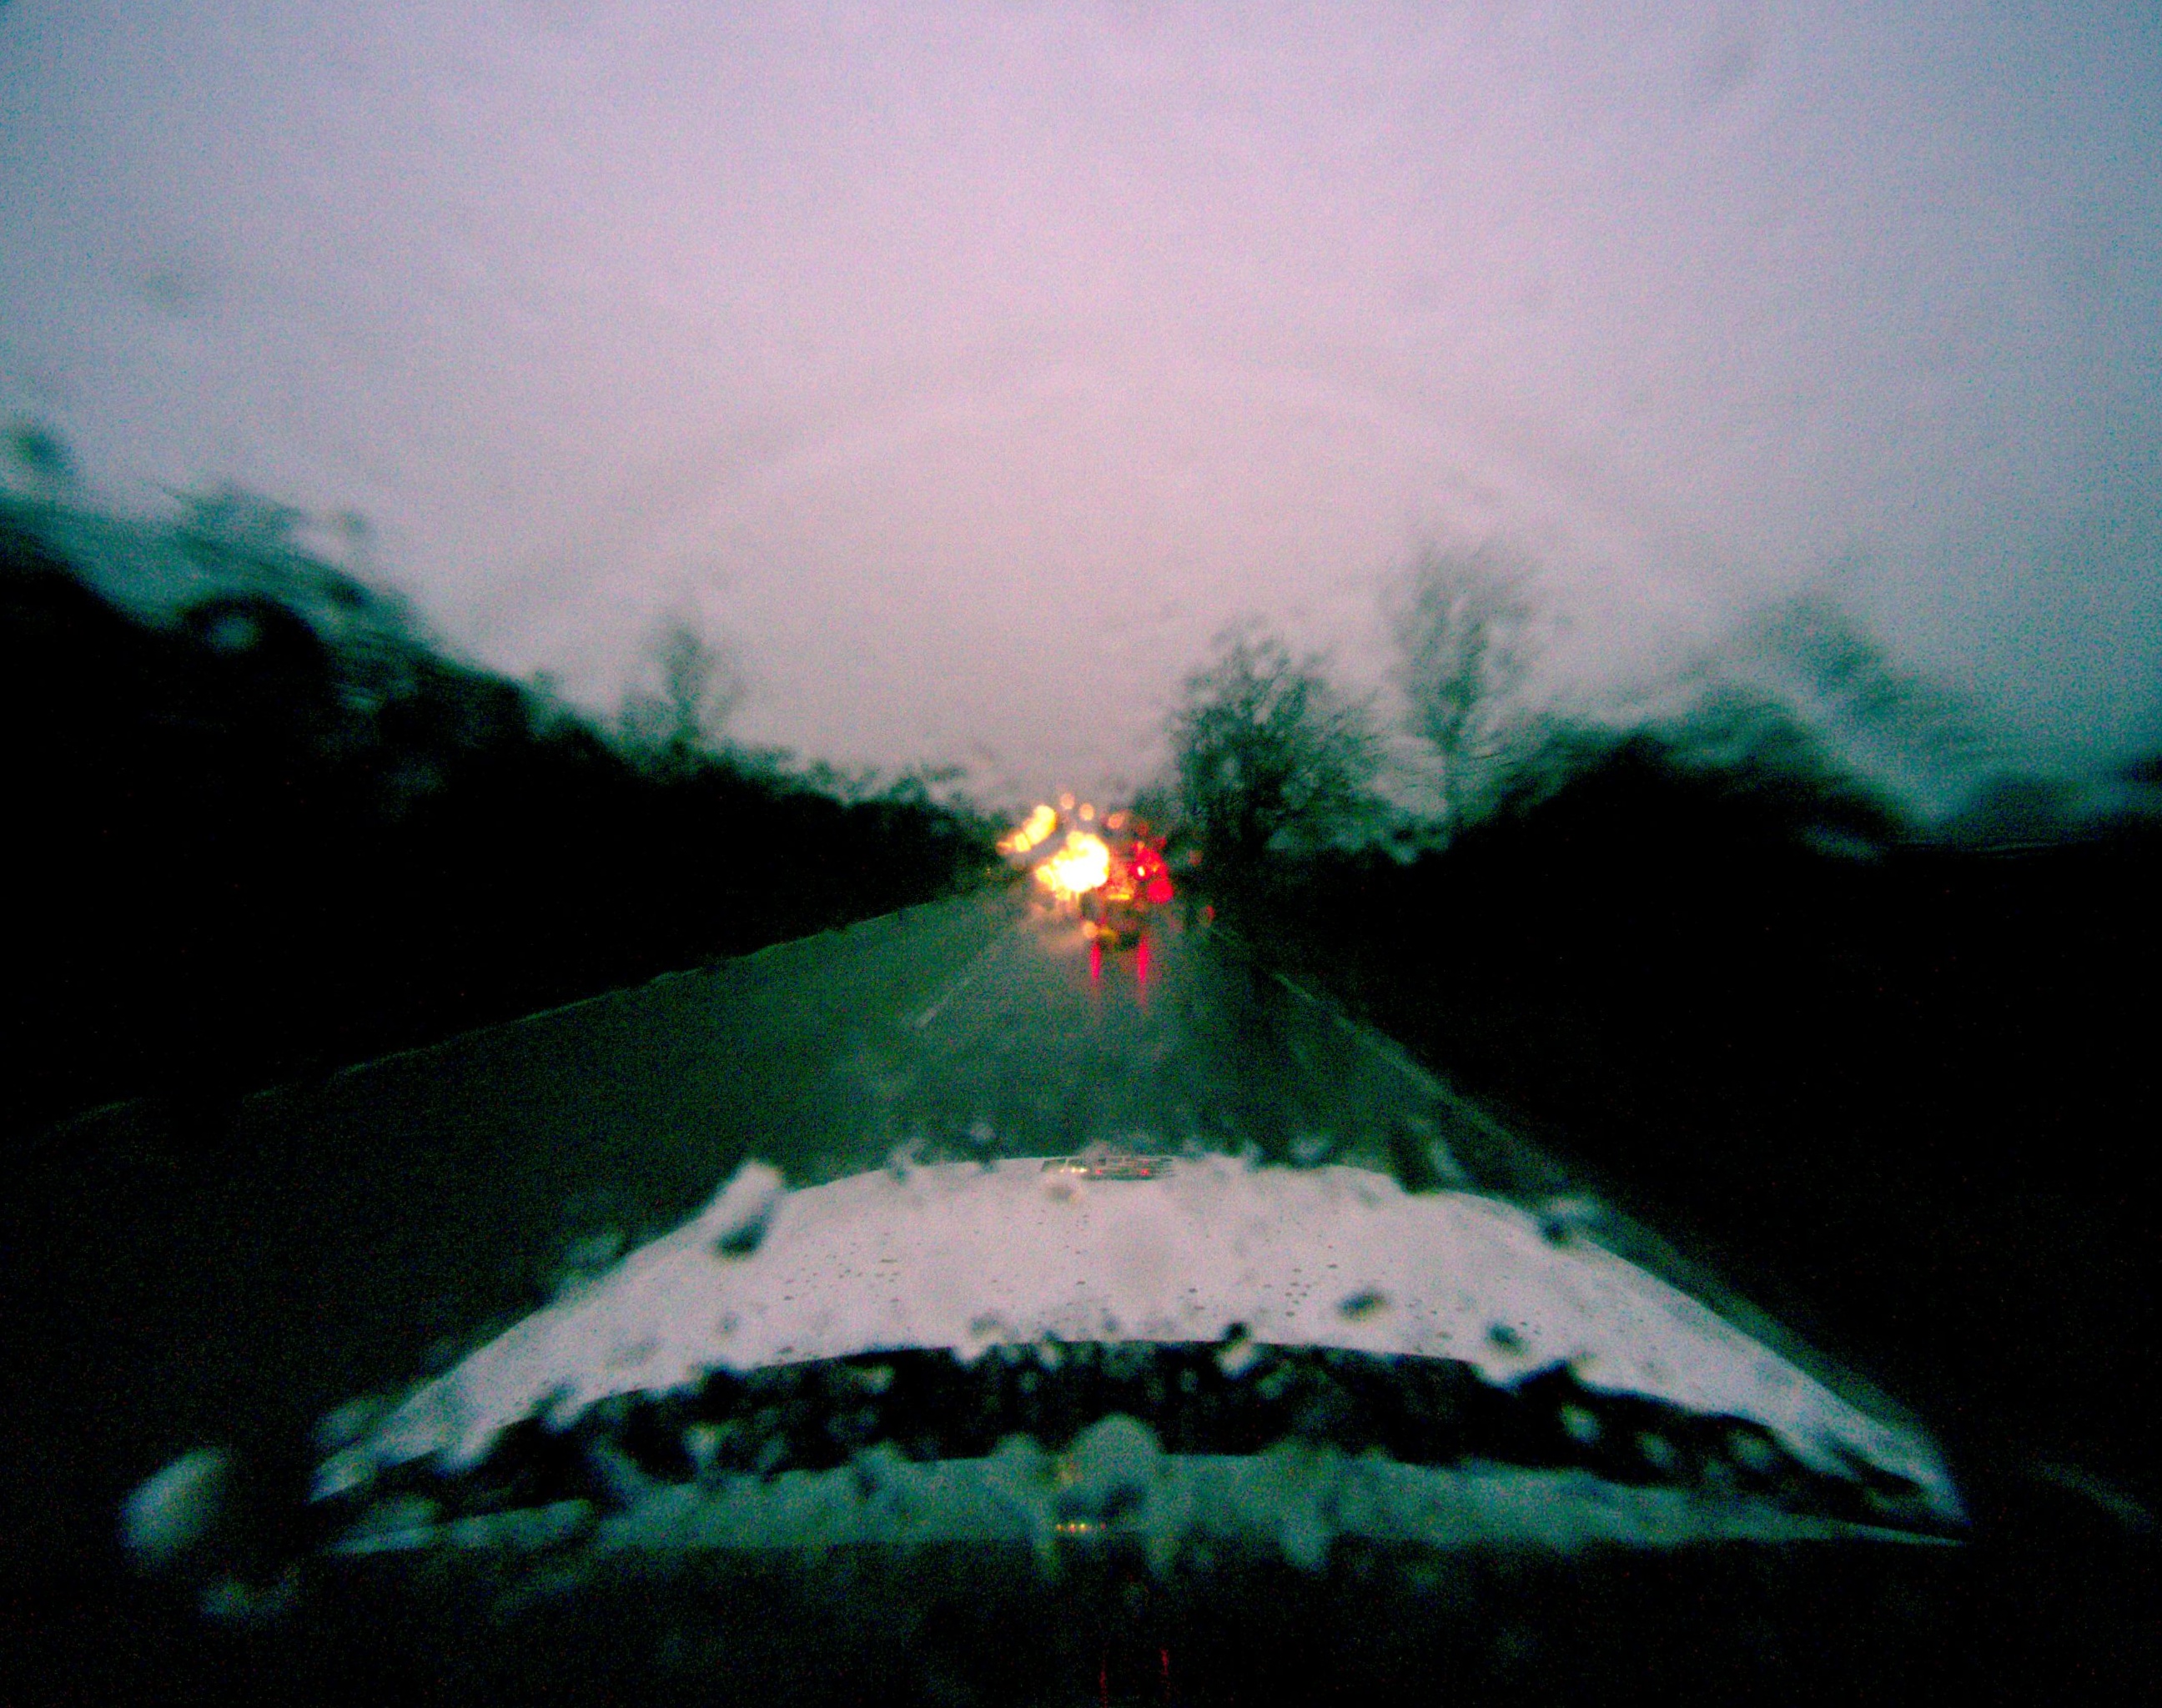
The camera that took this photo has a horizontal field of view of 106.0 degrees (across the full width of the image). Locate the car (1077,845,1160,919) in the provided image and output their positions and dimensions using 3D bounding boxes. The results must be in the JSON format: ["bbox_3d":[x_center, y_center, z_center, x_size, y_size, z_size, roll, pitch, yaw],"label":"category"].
[{"bbox_3d":[0.983,0.679,21.565,1.986,1.784,4.002,0,0,2],"label":"car"}]

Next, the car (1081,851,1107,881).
[{"bbox_3d":[0.868,0.746,52.762,1.568,1.875,3.711,0,0,2],"label":"car"}]

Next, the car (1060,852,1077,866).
[{"bbox_3d":[-1.275,0.531,87.306,1.685,1.530,4.086,0,0,1],"label":"car"}]
